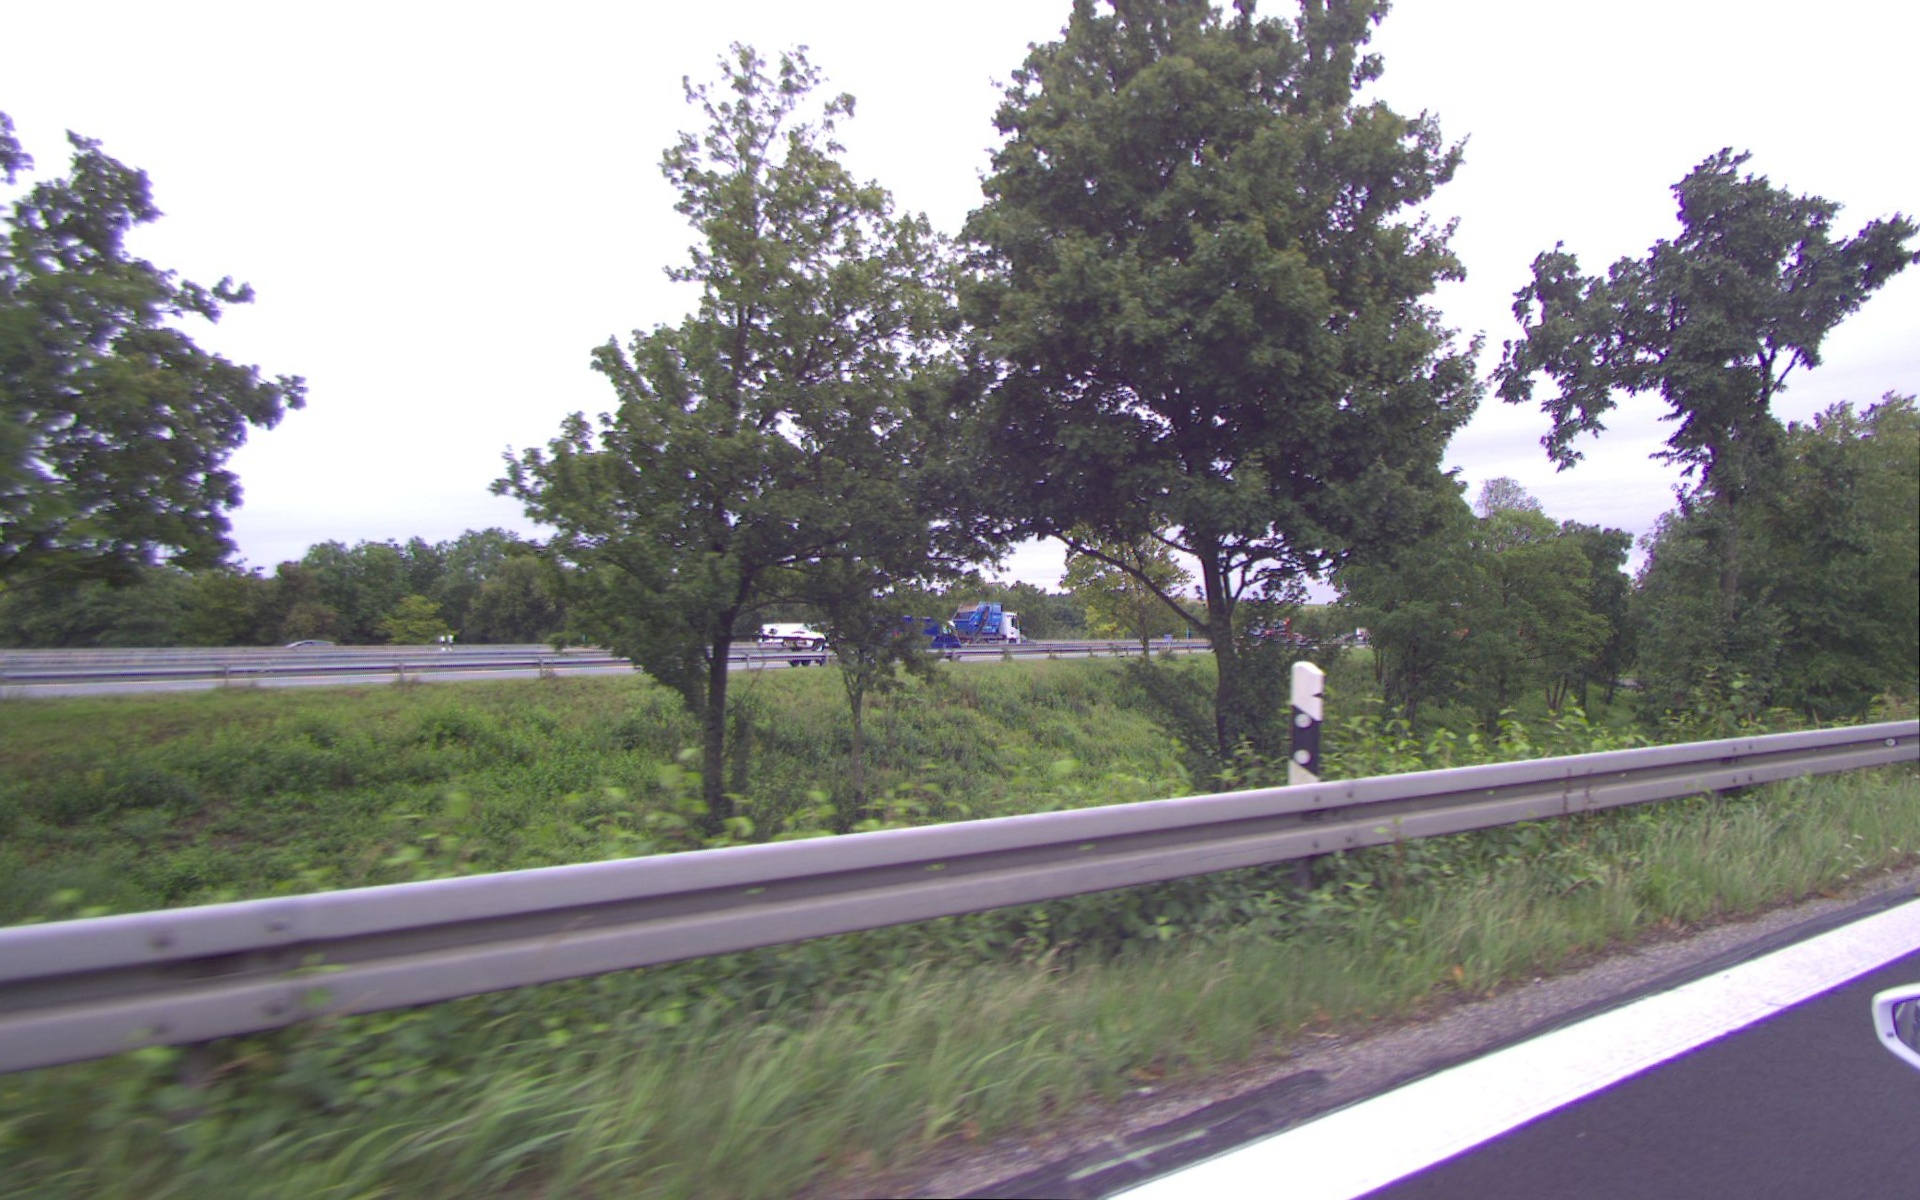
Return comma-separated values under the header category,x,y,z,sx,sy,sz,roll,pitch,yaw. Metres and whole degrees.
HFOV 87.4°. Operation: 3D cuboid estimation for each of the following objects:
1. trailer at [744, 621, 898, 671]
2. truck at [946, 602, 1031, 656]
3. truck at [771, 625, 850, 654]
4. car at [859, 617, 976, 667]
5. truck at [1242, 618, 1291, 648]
category,x,y,z,sx,sy,sz,roll,pitch,yaw
trailer,-5.983,1.984,44.274,2.453,2.021,7.035,0,-2,37
truck,2.268,2.232,76.343,2.605,3.862,7.315,0,-2,38
truck,-16.551,4.408,111.722,8.848,3.169,2.257,3,-2,-41
car,-1.995,2.038,49.540,2.343,2.296,6.232,0,-2,37
truck,36.316,3.897,118.811,2.821,3.409,8.596,-1,-2,38
